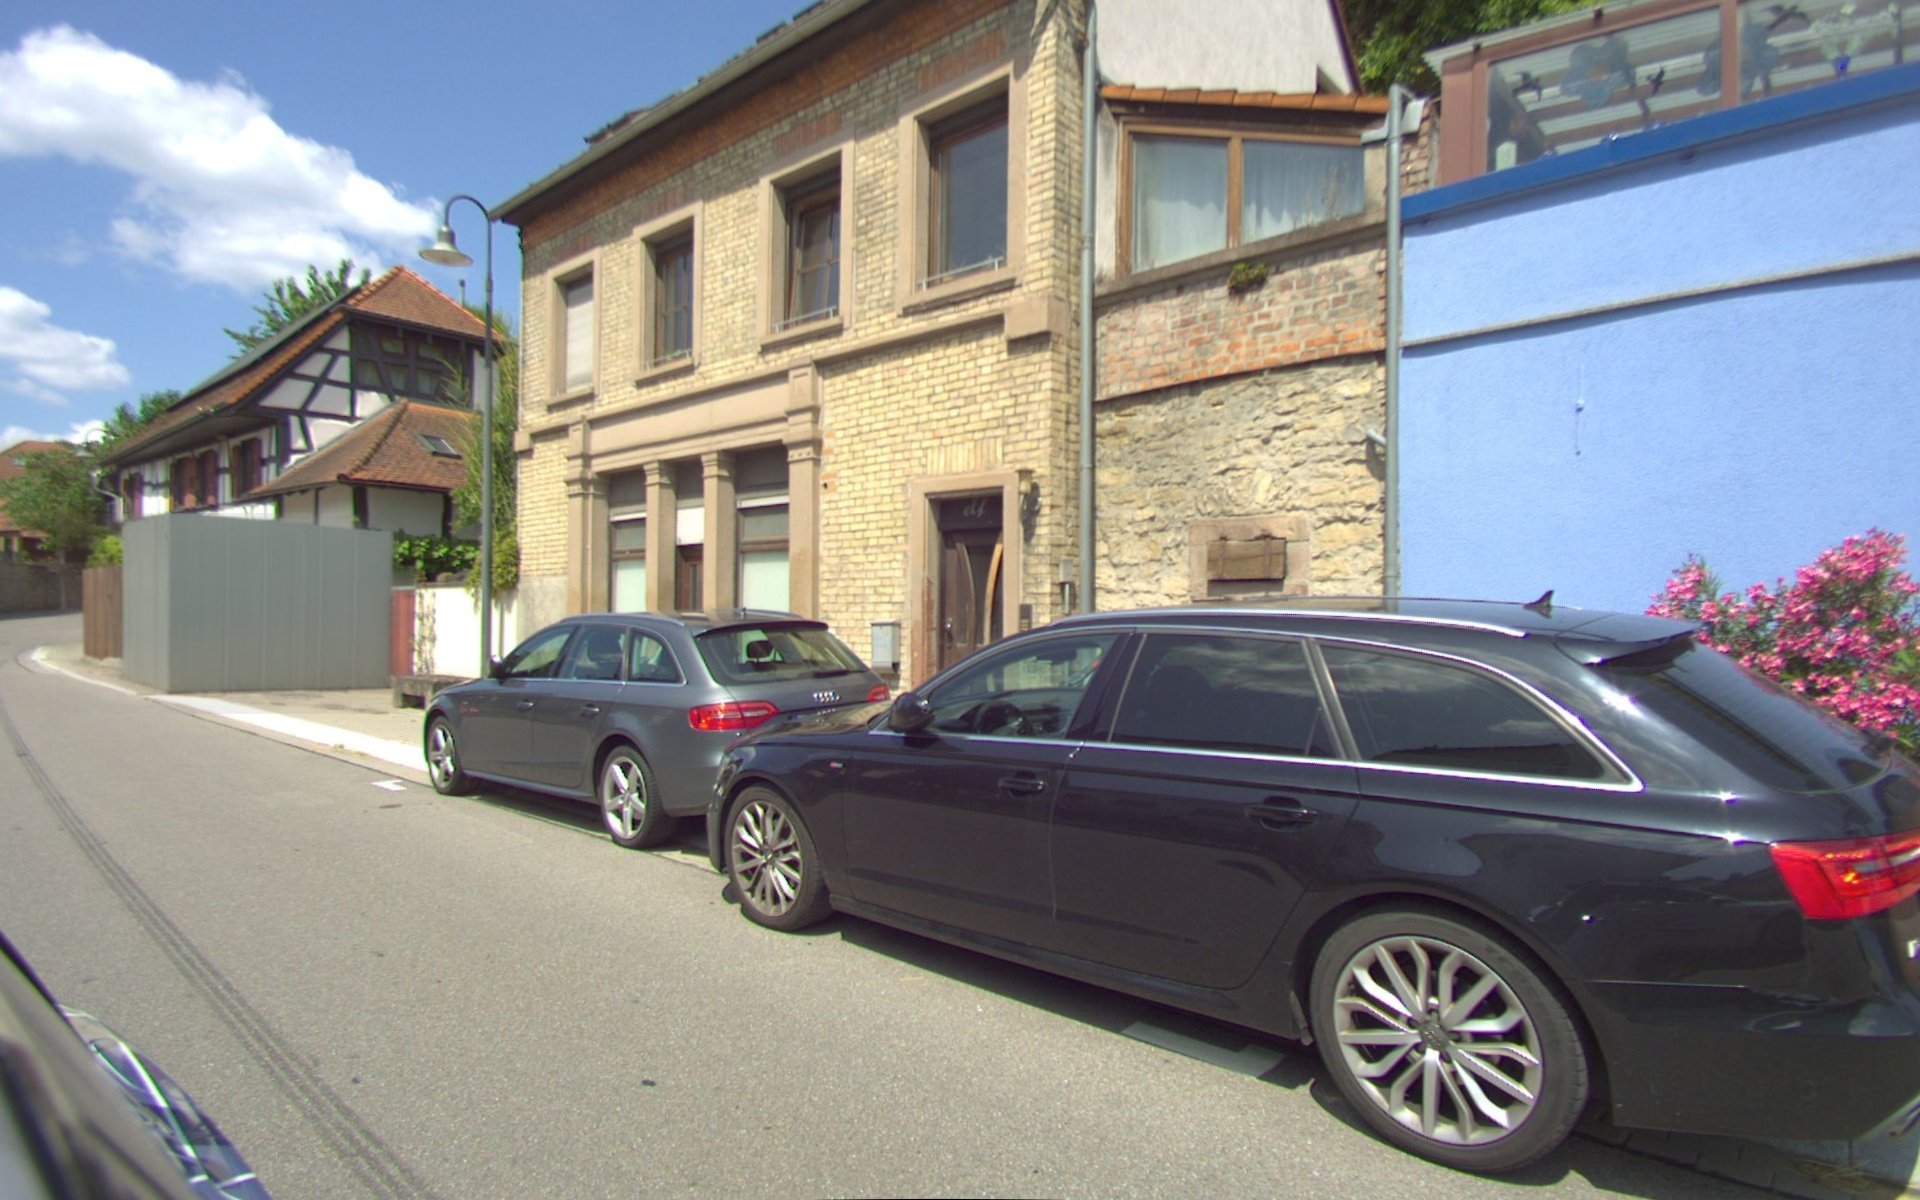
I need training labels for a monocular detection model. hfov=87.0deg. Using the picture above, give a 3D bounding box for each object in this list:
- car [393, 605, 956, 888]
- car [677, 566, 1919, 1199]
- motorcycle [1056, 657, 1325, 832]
[{"bbox_3d":[-2.367,0.798,7.627,4.544,1.477,1.936,0,-1,41],"label":"car"},{"bbox_3d":[0.962,0.708,4.011,4.669,1.475,1.864,-2,0,44],"label":"car"},{"bbox_3d":[1.578,0.958,7.179,1.857,1.008,0.413,0,3,41],"label":"motorcycle"}]
